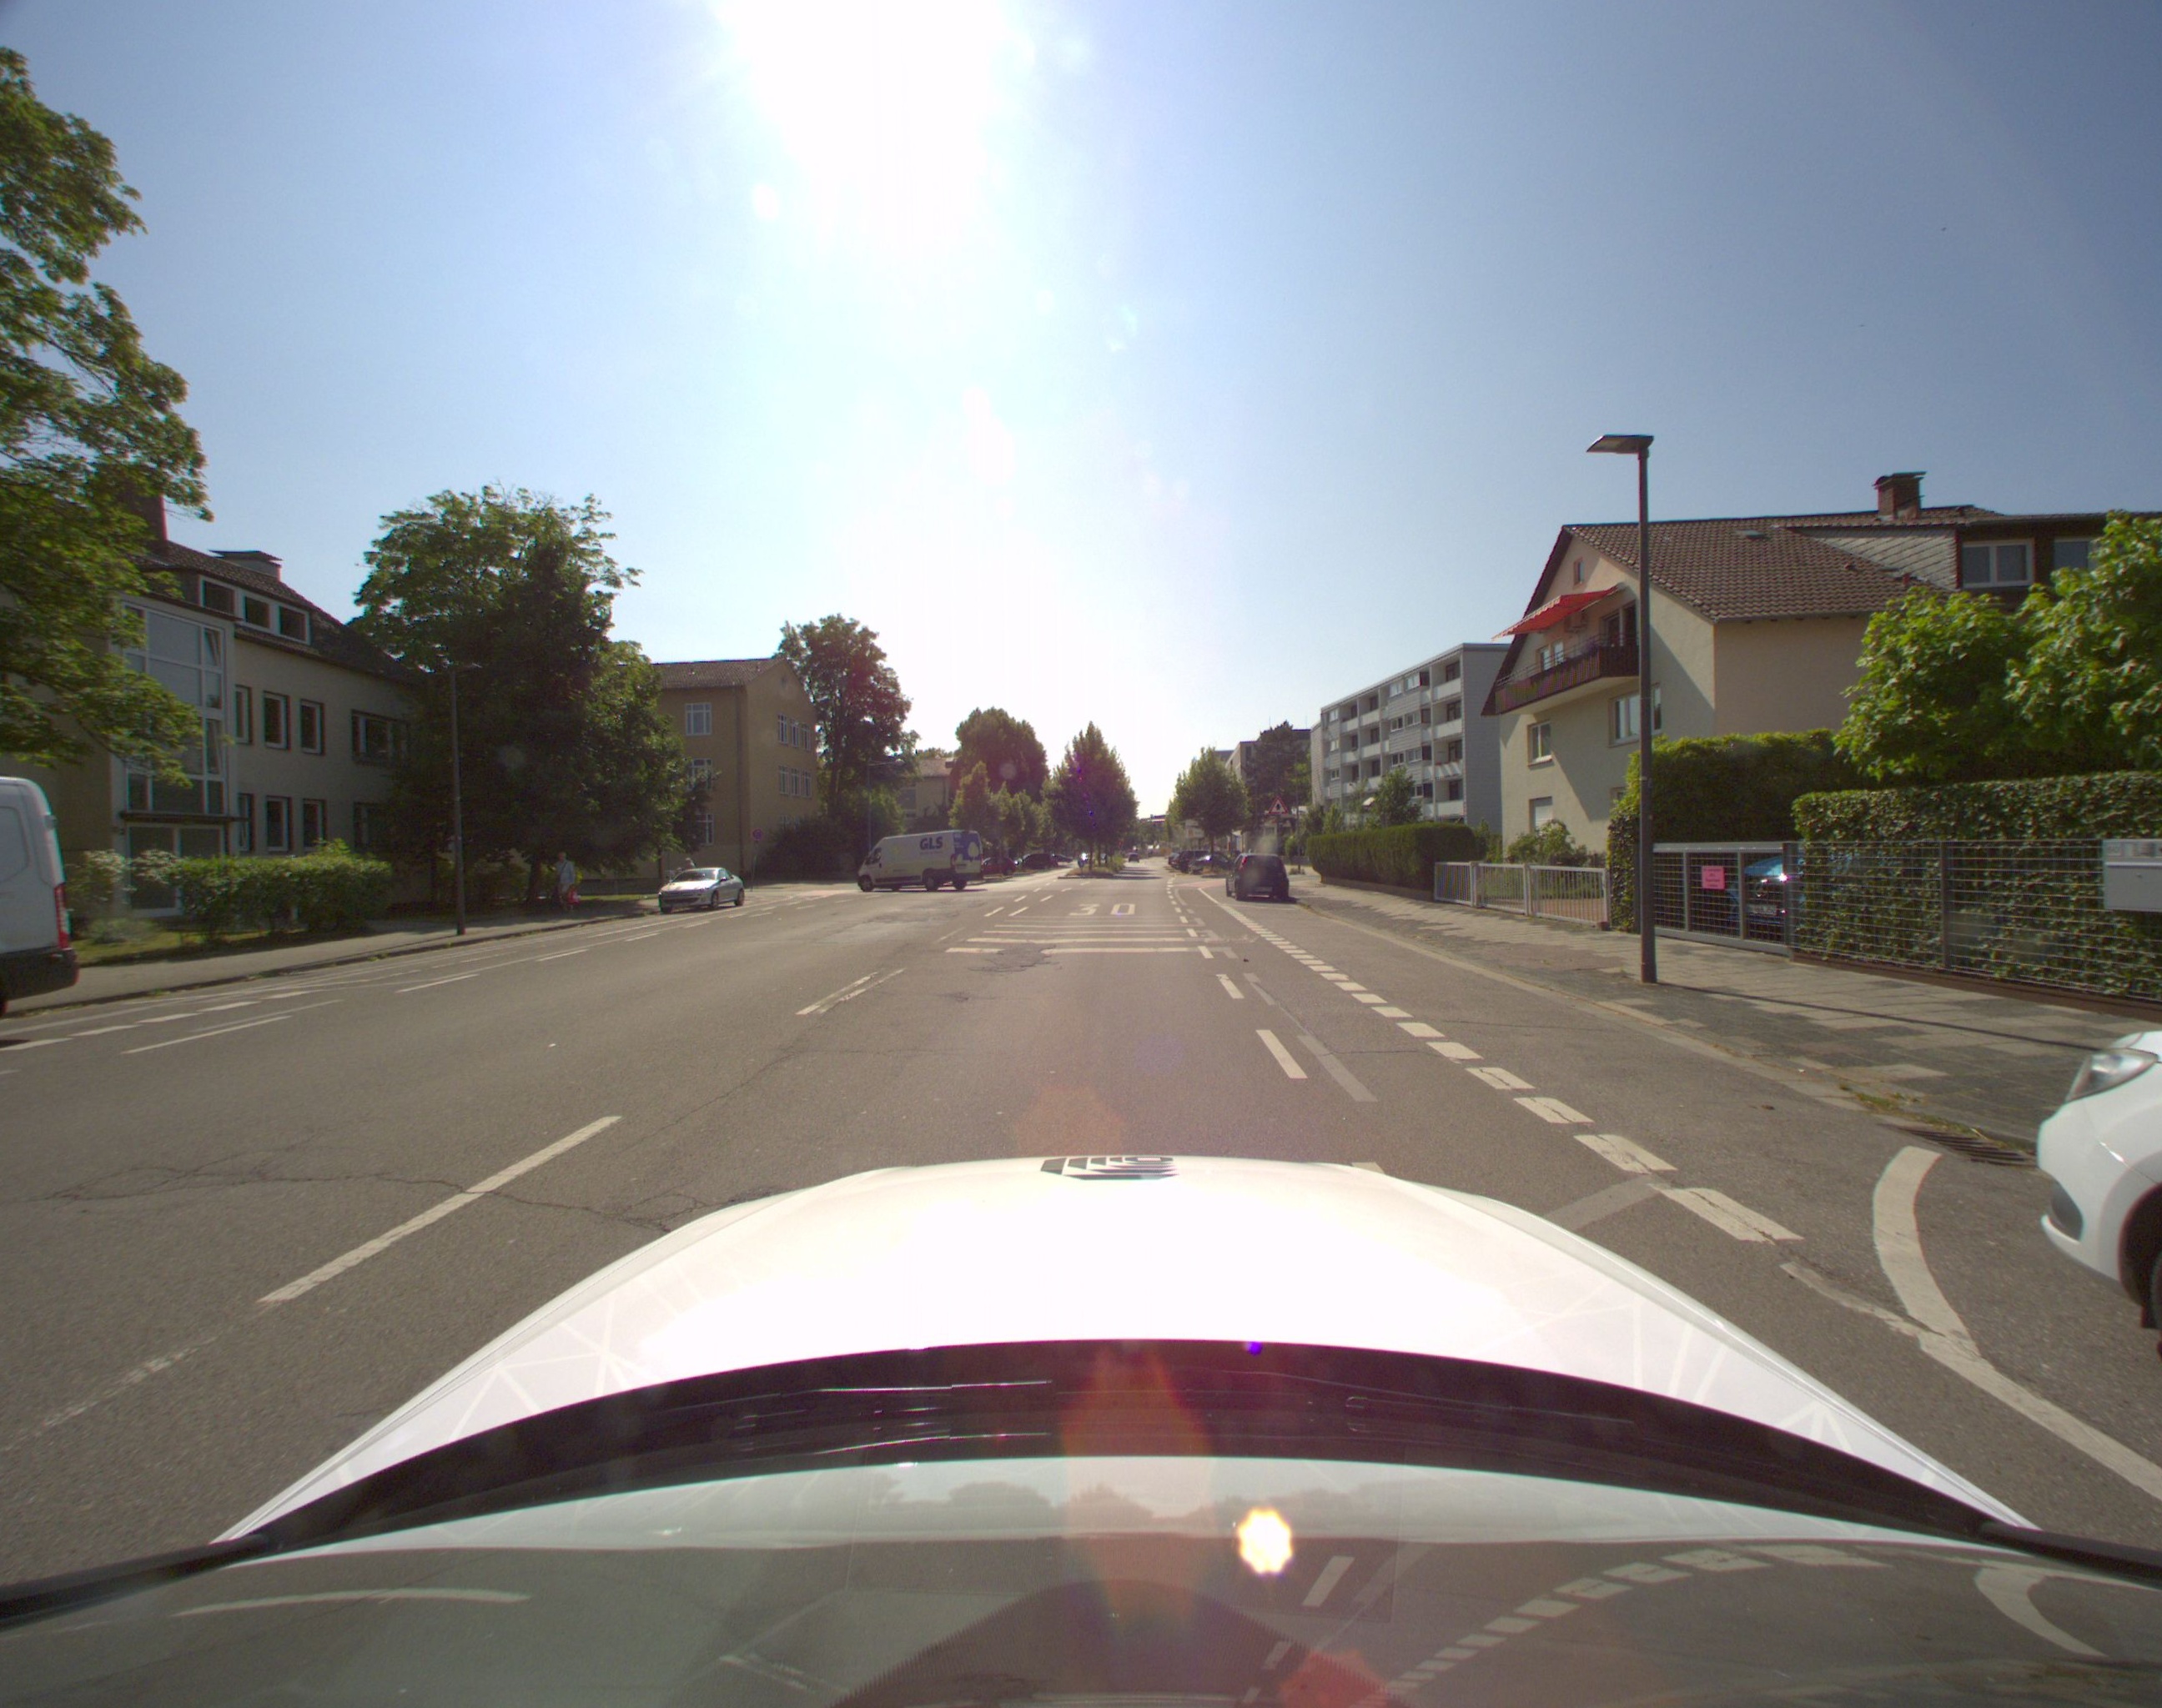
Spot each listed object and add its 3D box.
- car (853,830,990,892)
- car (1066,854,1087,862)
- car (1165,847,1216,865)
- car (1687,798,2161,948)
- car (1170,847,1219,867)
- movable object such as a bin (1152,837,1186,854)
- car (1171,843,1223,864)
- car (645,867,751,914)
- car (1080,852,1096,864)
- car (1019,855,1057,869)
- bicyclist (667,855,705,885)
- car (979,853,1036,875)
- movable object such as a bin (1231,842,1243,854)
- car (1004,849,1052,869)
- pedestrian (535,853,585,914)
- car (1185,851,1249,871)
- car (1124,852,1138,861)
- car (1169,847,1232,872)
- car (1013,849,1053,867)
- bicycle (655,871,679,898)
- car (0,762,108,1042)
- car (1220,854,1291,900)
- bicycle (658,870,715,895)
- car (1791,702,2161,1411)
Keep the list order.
[{"bbox_3d":[-7.231,0.323,36.618,6.056,2.524,2.298,-2,0,32],"label":"car"},{"bbox_3d":[-0.762,0.692,146.537,3.589,1.377,1.638,-1,0,2],"label":"car"},{"bbox_3d":[10.486,0.185,77.979,4.760,1.660,1.736,-1,0,-30],"label":"car"},{"bbox_3d":[11.236,0.220,10.688,5.068,1.706,1.979,-1,0,1],"label":"car"},{"bbox_3d":[9.998,0.290,71.898,3.984,1.640,1.748,-1,0,-8],"label":"car"},{"bbox_3d":[25.059,-2.467,231.907,9.626,4.550,3.169,-1,0,6],"label":"movable object such as a bin"},{"bbox_3d":[9.845,-0.079,68.975,3.995,1.640,1.743,-1,1,-16],"label":"car"},{"bbox_3d":[-12.457,1.138,26.776,1.716,1.266,3.995,-2,1,-3],"label":"car"},{"bbox_3d":[0.915,0.527,105.591,1.733,1.547,4.079,-3,0,5],"label":"car"},{"bbox_3d":[-4.687,0.902,89.427,3.855,1.423,1.698,-1,0,-32],"label":"car"},{"bbox_3d":[-19.147,0.765,39.493,1.339,1.403,0.965,-2,1,23],"label":"bicyclist"},{"bbox_3d":[-5.697,0.751,63.018,3.996,1.466,1.989,-3,1,-17],"label":"car"},{"bbox_3d":[20.957,-0.807,109.321,1.302,1.592,1.396,-4,0,2],"label":"movable object such as a bin"},{"bbox_3d":[-5.110,0.456,78.678,4.205,1.816,1.983,-2,1,-34],"label":"car"},{"bbox_3d":[-15.590,0.873,24.387,0.970,1.780,0.725,-1,0,0],"label":"pedestrian"},{"bbox_3d":[9.325,0.483,55.714,4.002,1.236,1.740,-1,0,-22],"label":"car"},{"bbox_3d":[8.014,0.422,130.297,1.986,1.398,4.001,-1,0,1],"label":"car"},{"bbox_3d":[8.563,0.382,58.371,4.132,1.640,2.025,-1,0,-29],"label":"car"},{"bbox_3d":[-5.016,0.443,84.864,3.780,1.772,1.805,-1,0,-24],"label":"car"},{"bbox_3d":[-17.411,1.272,34.219,0.380,1.081,1.695,-2,1,-45],"label":"bicycle"},{"bbox_3d":[-10.440,0.479,5.015,2.087,2.496,5.939,-2,1,-7],"label":"car"},{"bbox_3d":[5.565,0.688,26.325,1.610,1.390,4.002,0,0,2],"label":"car"},{"bbox_3d":[-19.129,1.382,39.520,2.523,1.113,0.965,-2,1,21],"label":"bicycle"},{"bbox_3d":[3.631,0.521,0.928,1.755,1.827,4.600,1,-1,2],"label":"car"}]
